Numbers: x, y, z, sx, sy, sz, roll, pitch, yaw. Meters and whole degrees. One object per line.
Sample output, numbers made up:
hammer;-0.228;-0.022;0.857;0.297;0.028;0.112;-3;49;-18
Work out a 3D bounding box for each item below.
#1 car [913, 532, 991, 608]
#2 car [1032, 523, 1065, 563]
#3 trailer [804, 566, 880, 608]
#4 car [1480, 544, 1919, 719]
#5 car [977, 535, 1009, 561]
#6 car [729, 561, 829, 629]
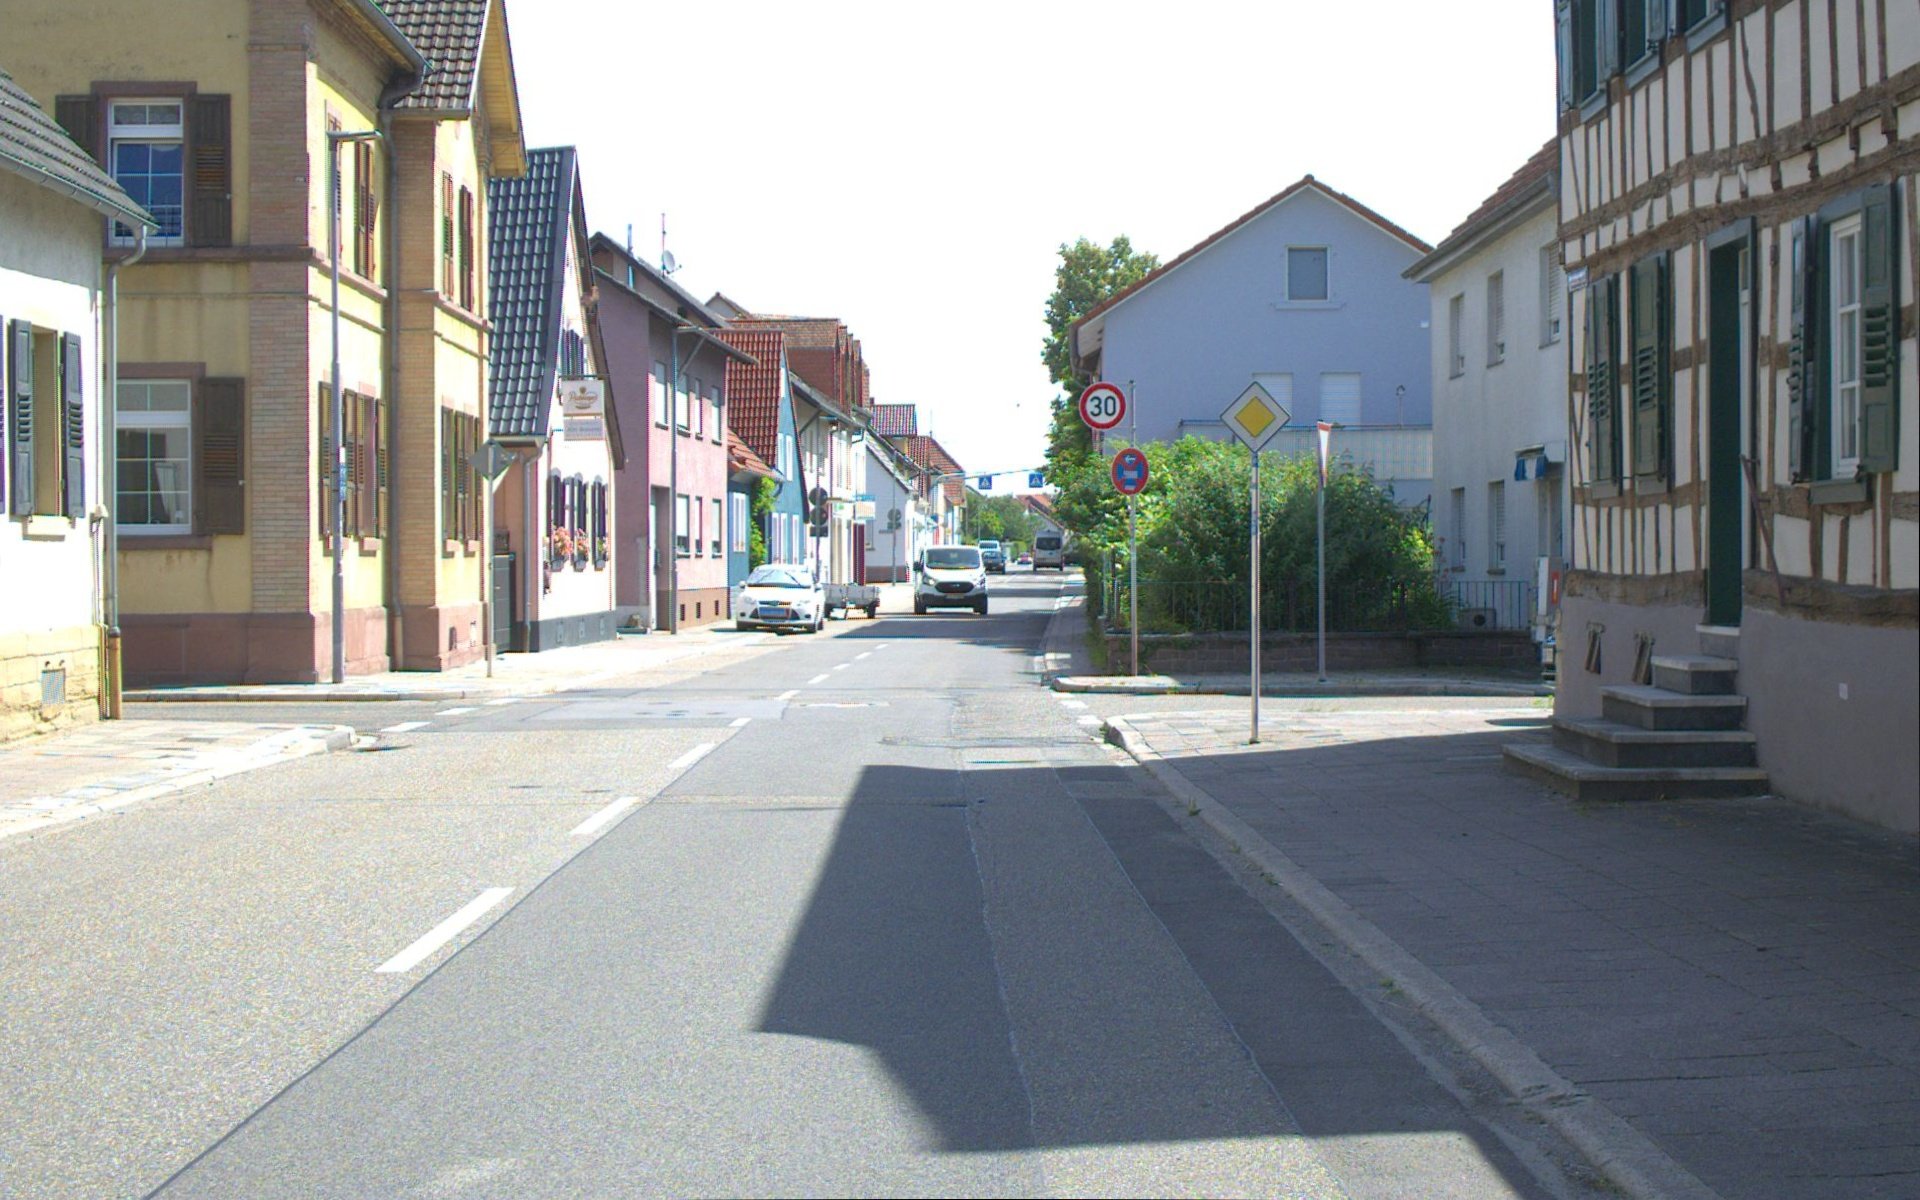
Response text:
car;-0.259;-0.835;98.801;2.158;2.073;4.000;-1;-1;-1
car;5.720;-3.685;222.981;2.017;2.559;4.000;-1;1;0
trailer;-3.186;-0.365;93.436;1.993;1.086;4.000;0;1;-1
car;6.695;0.242;29.772;3.986;1.437;2.000;0;1;-4
car;2.012;-3.147;208.412;1.867;1.539;3.838;-1;1;0
car;-4.026;-0.134;76.919;1.993;1.437;4.000;-1;1;0
